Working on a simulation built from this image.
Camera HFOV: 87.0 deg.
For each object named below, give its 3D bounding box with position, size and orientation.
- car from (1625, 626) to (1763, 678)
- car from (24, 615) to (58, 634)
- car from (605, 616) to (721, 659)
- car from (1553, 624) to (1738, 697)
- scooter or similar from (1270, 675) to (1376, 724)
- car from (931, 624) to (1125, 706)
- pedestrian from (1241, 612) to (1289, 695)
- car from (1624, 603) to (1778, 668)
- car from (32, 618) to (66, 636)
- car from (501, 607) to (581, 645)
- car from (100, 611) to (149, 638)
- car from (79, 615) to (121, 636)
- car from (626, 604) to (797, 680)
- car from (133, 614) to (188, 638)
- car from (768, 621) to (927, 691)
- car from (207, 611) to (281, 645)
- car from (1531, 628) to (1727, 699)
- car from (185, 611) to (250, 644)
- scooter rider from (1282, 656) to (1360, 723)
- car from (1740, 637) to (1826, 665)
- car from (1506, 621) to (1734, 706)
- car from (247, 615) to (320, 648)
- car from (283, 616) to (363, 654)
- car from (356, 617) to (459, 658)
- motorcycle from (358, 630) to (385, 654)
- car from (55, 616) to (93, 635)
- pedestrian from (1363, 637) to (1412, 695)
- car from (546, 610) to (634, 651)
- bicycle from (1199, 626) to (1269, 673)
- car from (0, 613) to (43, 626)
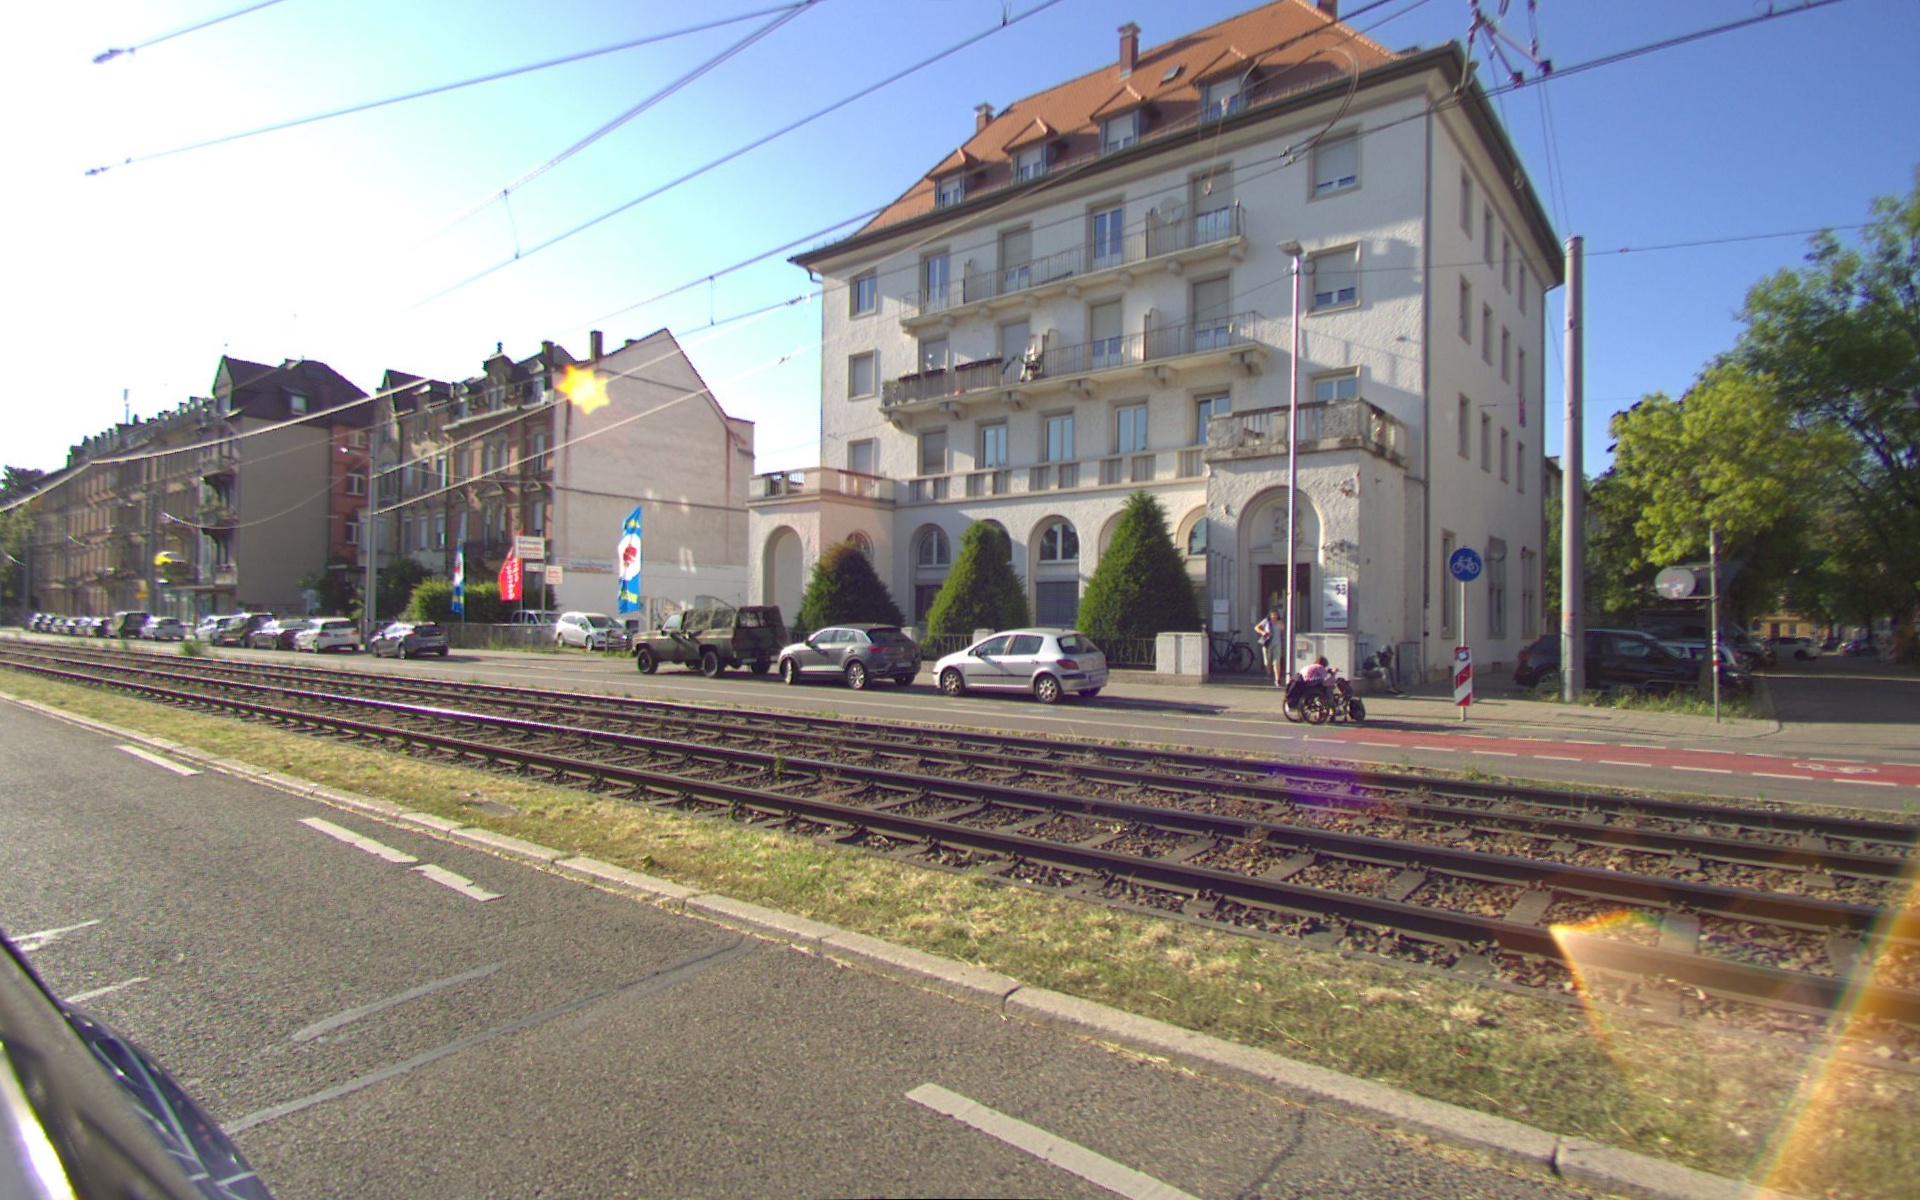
[{"bbox_3d":[26.893,1.881,37.160,3.995,1.670,1.777,1,-1,39],"label":"car"},{"bbox_3d":[-82.029,2.183,90.308,4.628,1.655,1.775,-1,0,41],"label":"car"},{"bbox_3d":[-12.053,1.541,41.161,4.078,1.646,1.953,2,-4,-42],"label":"car"},{"bbox_3d":[18.426,1.575,27.255,3.995,1.670,1.777,1,-1,39],"label":"car"},{"bbox_3d":[6.212,1.699,17.349,1.542,0.776,0.810,2,-2,-20],"label":"scooter or similar"},{"bbox_3d":[1.435,1.352,22.163,3.997,1.522,1.776,0,0,40],"label":"car"},{"bbox_3d":[6.896,1.190,22.872,0.930,1.791,0.986,0,0,24],"label":"pedestrian"},{"bbox_3d":[34.161,1.600,46.870,5.588,2.705,2.251,1,-1,36],"label":"car"},{"bbox_3d":[-78.480,2.281,87.194,3.761,1.457,1.643,-1,0,39],"label":"car"},{"bbox_3d":[-20.982,1.272,50.627,4.562,1.668,1.883,2,-1,43],"label":"car"},{"bbox_3d":[-58.277,1.670,70.593,4.721,1.821,1.644,-1,0,38],"label":"car"},{"bbox_3d":[-62.908,1.856,74.019,3.976,1.457,1.643,-1,0,39],"label":"car"},{"bbox_3d":[-7.416,1.159,29.838,5.588,2.025,2.056,0,0,41],"label":"car"},{"bbox_3d":[-52.906,1.684,66.970,4.622,1.550,1.902,0,-1,39],"label":"car"},{"bbox_3d":[-2.904,1.352,25.591,4.157,1.518,1.618,1,0,41],"label":"car"},{"bbox_3d":[-39.019,1.513,55.162,4.487,1.794,1.904,-1,-1,35],"label":"car"},{"bbox_3d":[16.899,1.561,25.646,3.995,1.522,1.777,1,-1,39],"label":"car"},{"bbox_3d":[-42.924,1.561,58.441,4.623,1.696,1.902,1,0,39],"label":"car"},{"bbox_3d":[6.178,1.519,17.340,0.962,1.097,0.810,2,-2,-20],"label":"scooter rider"},{"bbox_3d":[50.799,3.138,62.563,3.992,1.522,1.778,1,-1,36],"label":"car"},{"bbox_3d":[15.163,1.399,23.355,4.257,1.653,1.777,1,-1,39],"label":"car"},{"bbox_3d":[-34.395,1.545,51.396,4.840,1.572,1.900,-1,-1,41],"label":"car"},{"bbox_3d":[-30.077,1.613,47.716,4.840,1.707,1.900,-1,-1,41],"label":"car"},{"bbox_3d":[-22.865,1.515,41.818,4.834,1.471,1.903,-1,3,37],"label":"car"},{"bbox_3d":[-26.229,1.855,45.094,0.815,0.961,2.156,0,0,-37],"label":"motorcycle"},{"bbox_3d":[-70.902,2.045,81.004,3.976,1.457,1.643,-1,0,39],"label":"car"},{"bbox_3d":[9.532,1.459,22.541,0.892,1.196,0.870,0,0,31],"label":"pedestrian"},{"bbox_3d":[-17.119,1.376,46.750,4.562,1.668,1.883,2,-1,43],"label":"car"},{"bbox_3d":[6.810,1.227,25.145,1.619,1.096,0.460,0,0,31],"label":"bicycle"},{"bbox_3d":[-112.163,2.336,120.627,3.931,1.521,1.806,0,0,-30],"label":"car"}]
